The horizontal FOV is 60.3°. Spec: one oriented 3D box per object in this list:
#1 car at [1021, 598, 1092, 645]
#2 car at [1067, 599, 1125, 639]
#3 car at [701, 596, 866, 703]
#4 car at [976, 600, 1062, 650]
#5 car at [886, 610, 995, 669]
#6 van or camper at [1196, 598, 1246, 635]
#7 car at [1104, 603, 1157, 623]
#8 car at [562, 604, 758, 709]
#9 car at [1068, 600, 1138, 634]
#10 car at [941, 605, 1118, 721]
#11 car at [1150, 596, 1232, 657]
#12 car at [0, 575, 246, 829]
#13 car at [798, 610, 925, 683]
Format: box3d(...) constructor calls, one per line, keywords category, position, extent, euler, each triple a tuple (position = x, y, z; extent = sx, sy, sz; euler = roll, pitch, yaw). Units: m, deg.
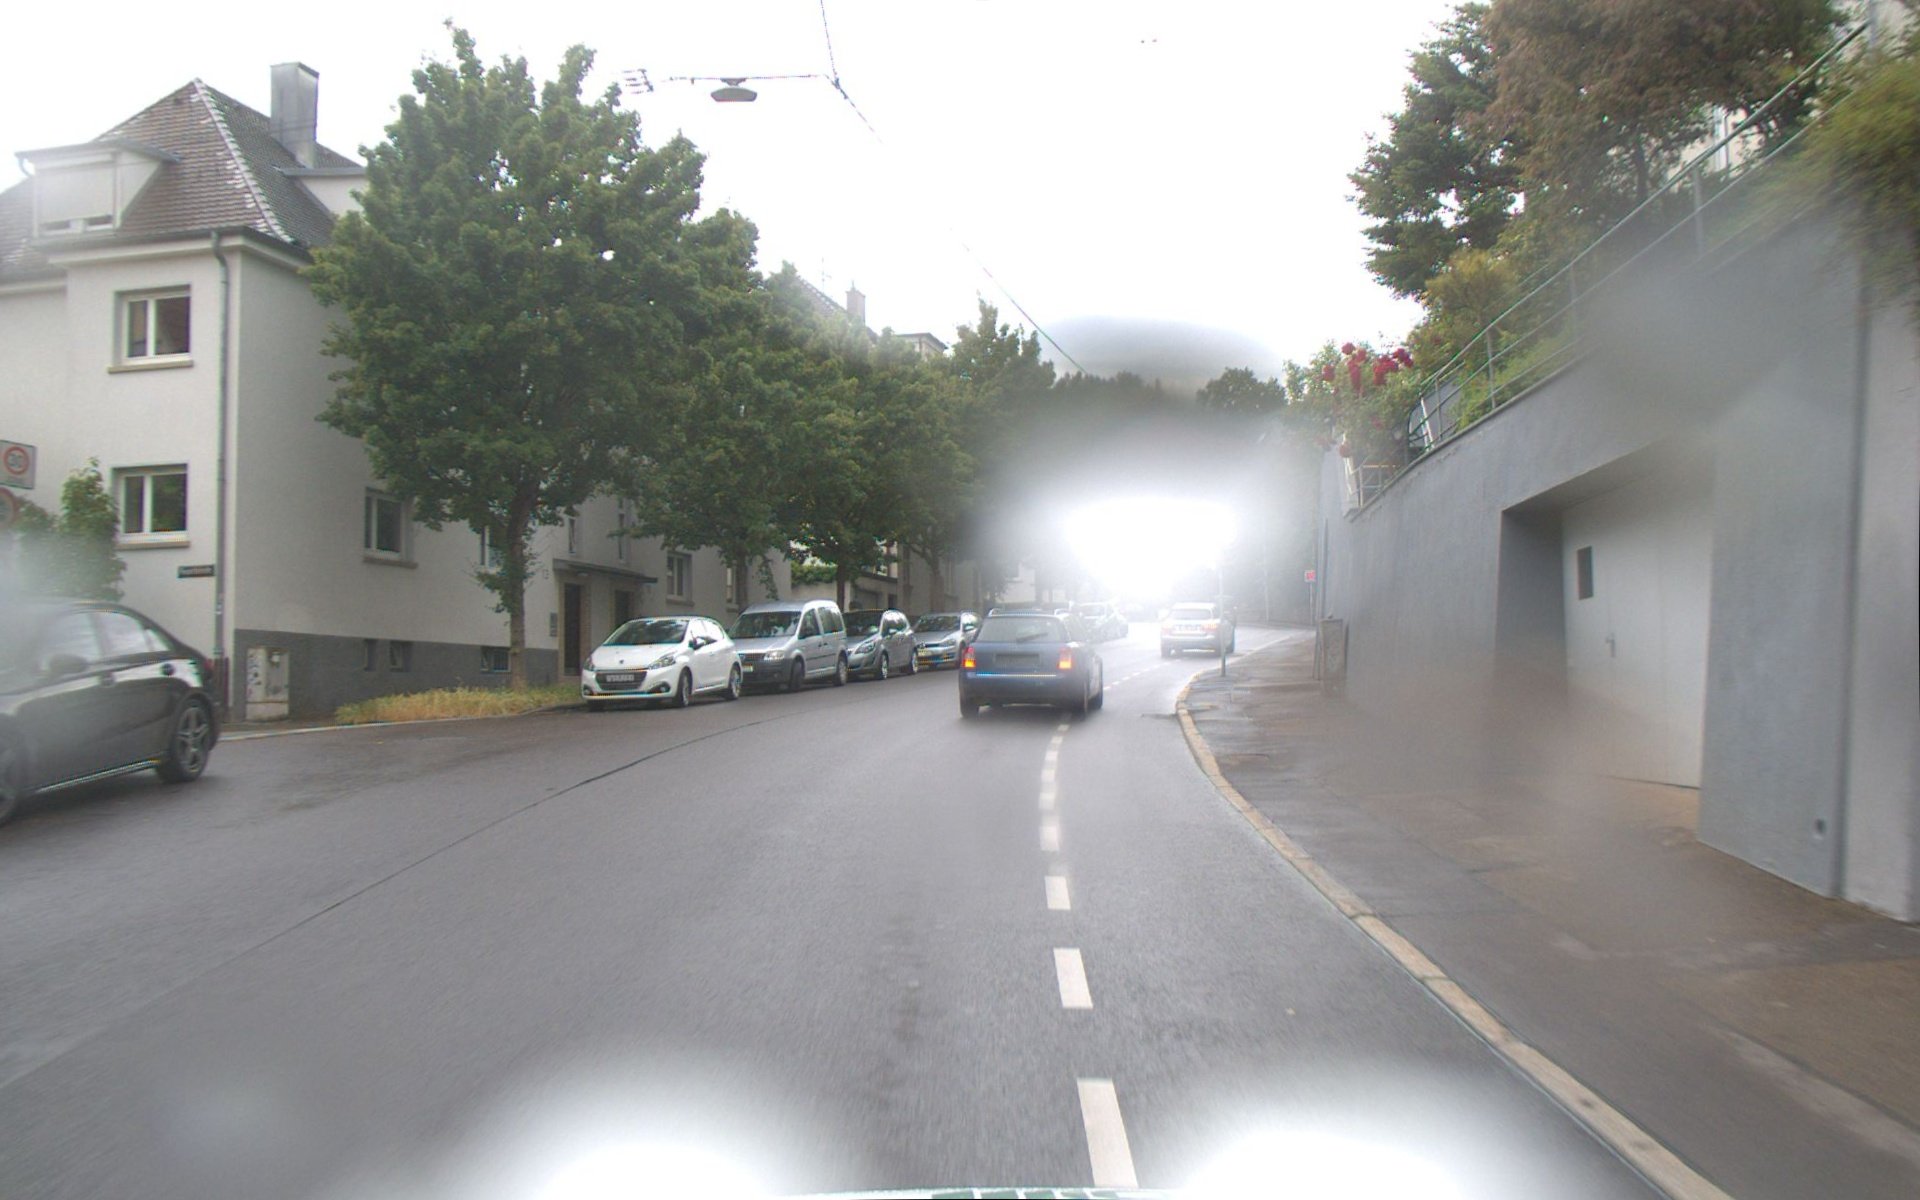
box3d(category="car", position=(3.561, 0.775, 60.389), extent=(1.766, 1.655, 4.142), euler=(0, -1, 15))
box3d(category="car", position=(5.606, 0.755, 67.840), extent=(1.676, 1.488, 3.884), euler=(0, 1, 16))
box3d(category="car", position=(-3.518, 0.998, 33.902), extent=(1.873, 2.036, 4.551), euler=(0, -1, 14))
box3d(category="car", position=(1.990, 0.835, 54.272), extent=(1.766, 1.579, 4.803), euler=(0, -1, 15))
box3d(category="car", position=(-0.442, 1.049, 43.872), extent=(1.766, 1.479, 4.600), euler=(0, -1, 14))
box3d(category="van or camper", position=(15.461, 1.016, 98.174), extent=(1.955, 2.049, 3.993), euler=(1, -2, -7))
box3d(category="car", position=(13.598, 0.995, 131.685), extent=(4.134, 1.534, 1.719), euler=(0, -1, -35))
box3d(category="car", position=(-4.957, 0.951, 27.933), extent=(1.746, 1.541, 4.349), euler=(-4, -2, 11))
box3d(category="car", position=(6.242, 0.749, 72.572), extent=(1.958, 1.415, 4.185), euler=(-1, -1, -11))
box3d(category="car", position=(1.082, 0.816, 23.185), extent=(1.814, 1.438, 4.365), euler=(-1, 0, 11))
box3d(category="car", position=(6.710, 0.723, 47.710), extent=(1.908, 1.588, 4.267), euler=(2, 1, 13))
box3d(category="car", position=(-6.784, 0.623, 11.438), extent=(1.739, 1.567, 4.516), euler=(1, 0, 0))
box3d(category="car", position=(-2.226, 1.083, 38.732), extent=(1.766, 1.512, 4.239), euler=(-3, -2, 13))
